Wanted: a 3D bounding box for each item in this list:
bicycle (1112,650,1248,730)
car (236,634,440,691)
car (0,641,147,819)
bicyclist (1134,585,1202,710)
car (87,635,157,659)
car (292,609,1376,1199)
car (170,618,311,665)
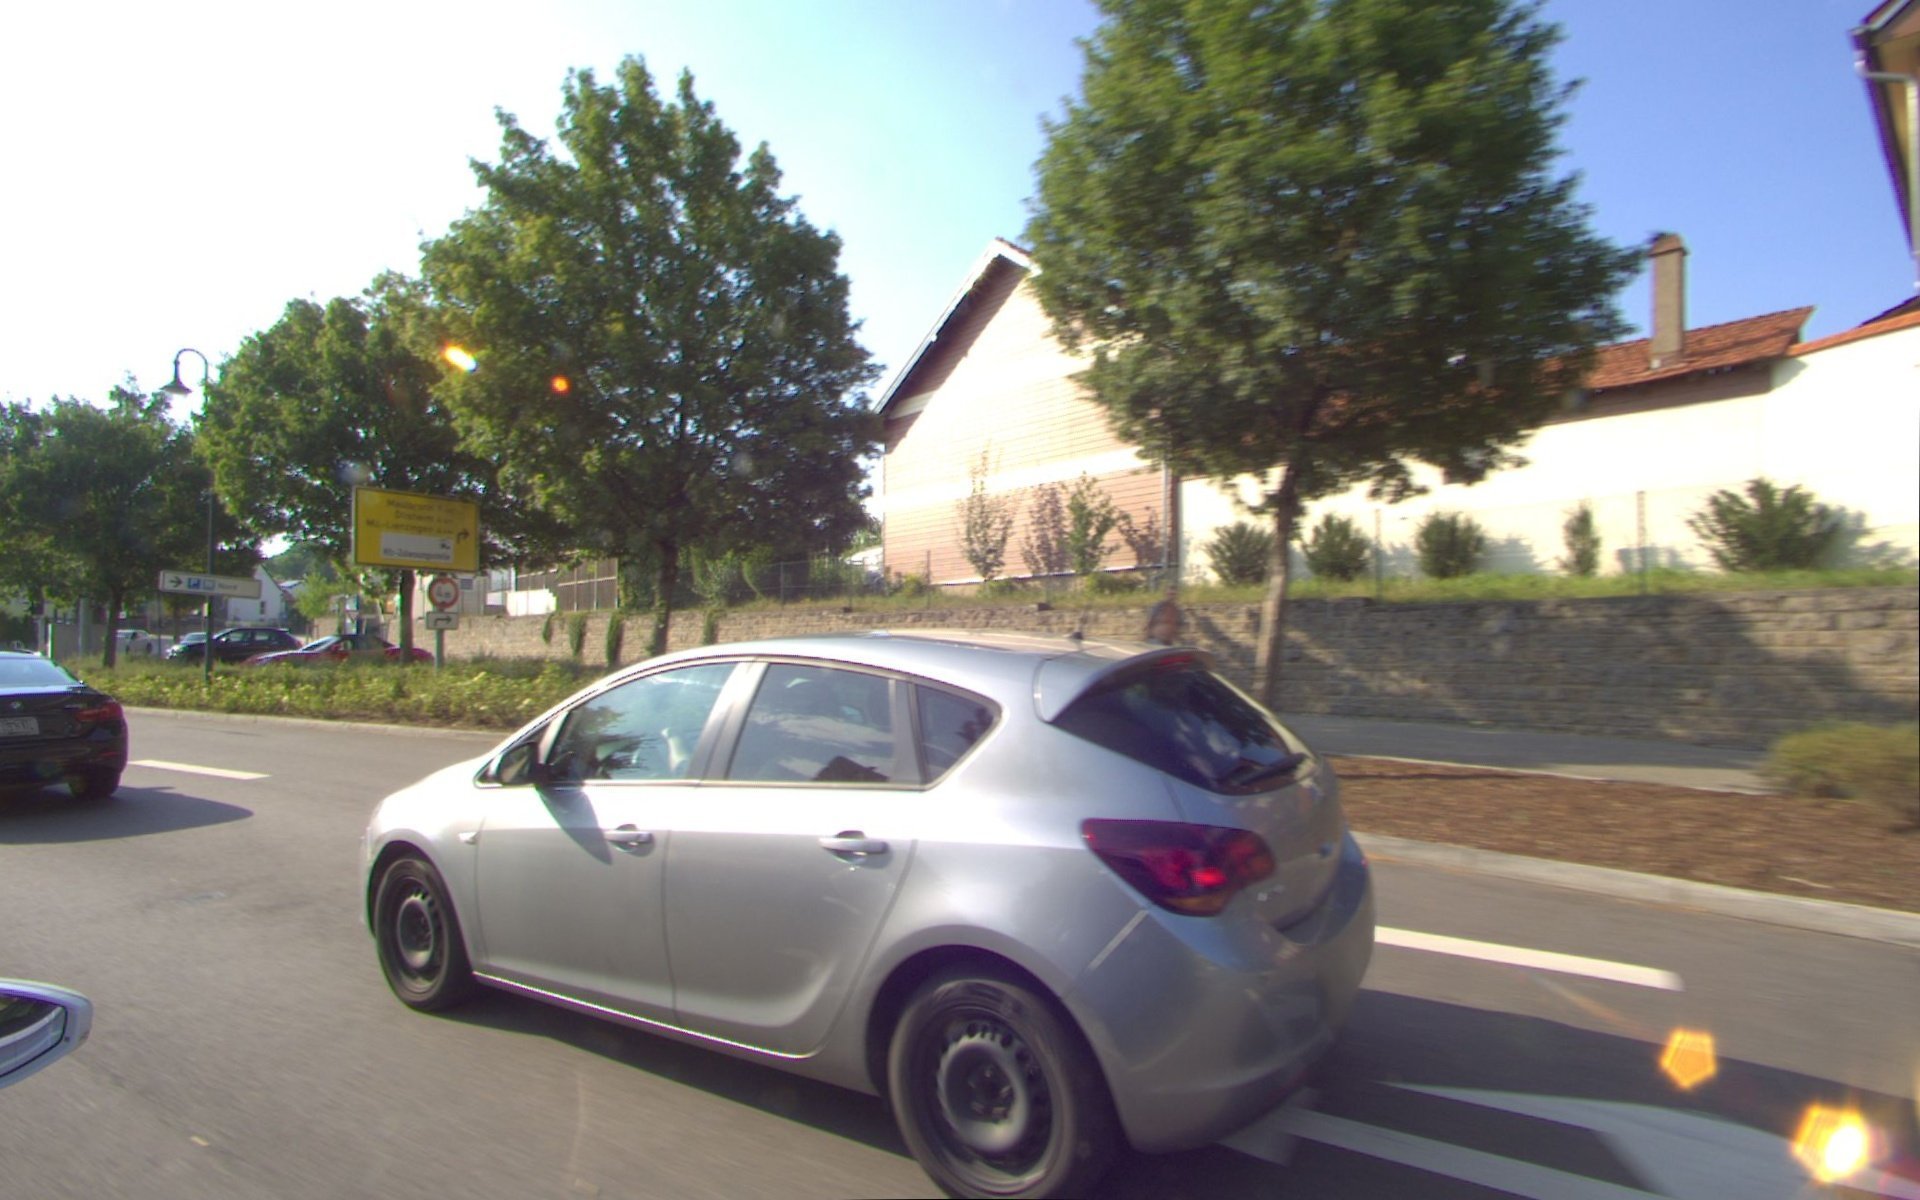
[{"bbox_3d":[3.038,1.223,13.987,1.857,1.031,0.518,-2,-2,44],"label":"bicycle"},{"bbox_3d":[-15.312,1.491,24.778,1.835,1.288,3.965,-2,-3,44],"label":"car"},{"bbox_3d":[-9.387,1.092,9.162,4.286,1.406,1.812,-2,-2,33],"label":"car"},{"bbox_3d":[2.932,0.666,14.099,0.727,1.699,0.599,-2,-2,44],"label":"bicyclist"},{"bbox_3d":[-54.162,3.010,64.829,1.835,1.504,4.652,0,-2,-17],"label":"car"},{"bbox_3d":[-0.713,0.823,3.952,4.109,1.460,1.740,-2,-2,33],"label":"car"},{"bbox_3d":[-26.439,1.529,36.876,1.835,1.628,3.965,-2,-3,44],"label":"car"}]
